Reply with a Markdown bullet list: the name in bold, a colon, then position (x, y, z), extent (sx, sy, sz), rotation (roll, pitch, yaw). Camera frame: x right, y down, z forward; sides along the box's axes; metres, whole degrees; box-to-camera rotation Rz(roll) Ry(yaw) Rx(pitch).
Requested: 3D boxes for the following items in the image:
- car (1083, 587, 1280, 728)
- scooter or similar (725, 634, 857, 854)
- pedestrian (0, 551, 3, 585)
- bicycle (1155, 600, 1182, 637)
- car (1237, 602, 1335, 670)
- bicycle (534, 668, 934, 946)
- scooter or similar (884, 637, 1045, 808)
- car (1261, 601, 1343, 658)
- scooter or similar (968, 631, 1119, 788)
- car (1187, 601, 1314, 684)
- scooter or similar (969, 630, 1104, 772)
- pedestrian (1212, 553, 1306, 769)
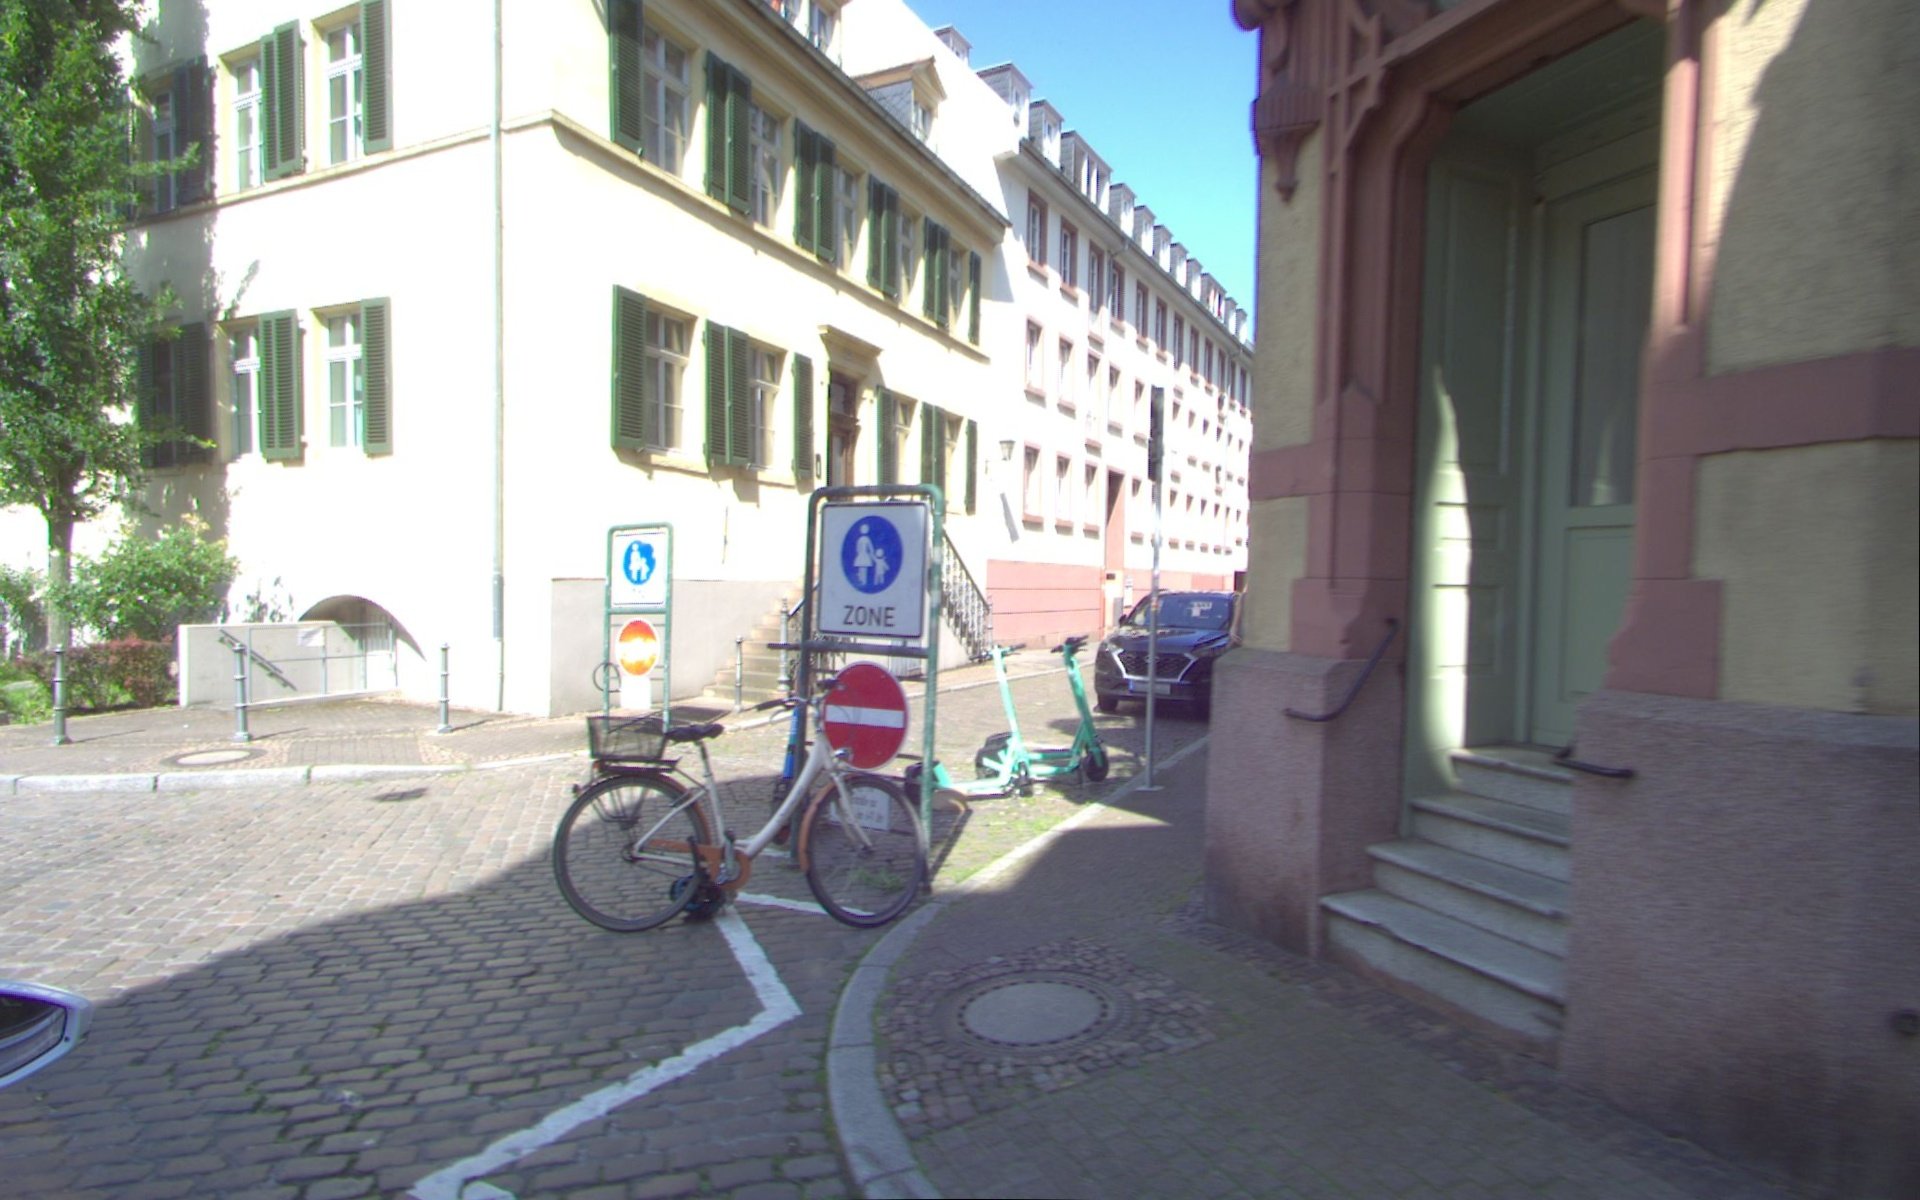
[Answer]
- **car**: position (3.243, 0.667, 14.054), extent (1.966, 1.665, 3.988), rotation (1, 1, 24)
- **scooter or similar**: position (-1.076, 0.878, 6.580), extent (0.434, 1.252, 1.189), rotation (1, 1, 12)
- **pedestrian**: position (-34.867, -1.159, 35.769), extent (0.704, 1.226, 0.797), rotation (-1, -2, 27)
- **bicycle**: position (6.901, 0.603, 33.058), extent (0.450, 1.198, 1.439), rotation (2, 1, 29)
- **car**: position (7.602, 0.775, 23.175), extent (1.684, 1.414, 3.322), rotation (1, 1, 26)
- **bicycle**: position (-1.034, 0.938, 4.791), extent (1.760, 1.162, 0.505), rotation (0, 2, -10)
- **scooter or similar**: position (0.036, 0.909, 7.667), extent (1.170, 1.226, 0.341), rotation (0, 2, -20)
- **car**: position (9.321, 0.737, 27.169), extent (1.684, 1.414, 3.322), rotation (1, 1, 26)
- **scooter or similar**: position (0.698, 0.895, 8.370), extent (1.211, 1.226, 0.413), rotation (1, 2, 7)
- **car**: position (5.489, 0.750, 18.677), extent (1.685, 1.376, 3.322), rotation (-2, -1, 26)
- **scooter or similar**: position (0.681, 0.897, 9.033), extent (1.167, 1.226, 0.342), rotation (1, 2, 1)
- **pedestrian**: position (2.653, 0.515, 8.832), extent (0.613, 1.781, 0.977), rotation (-2, 0, 25)
